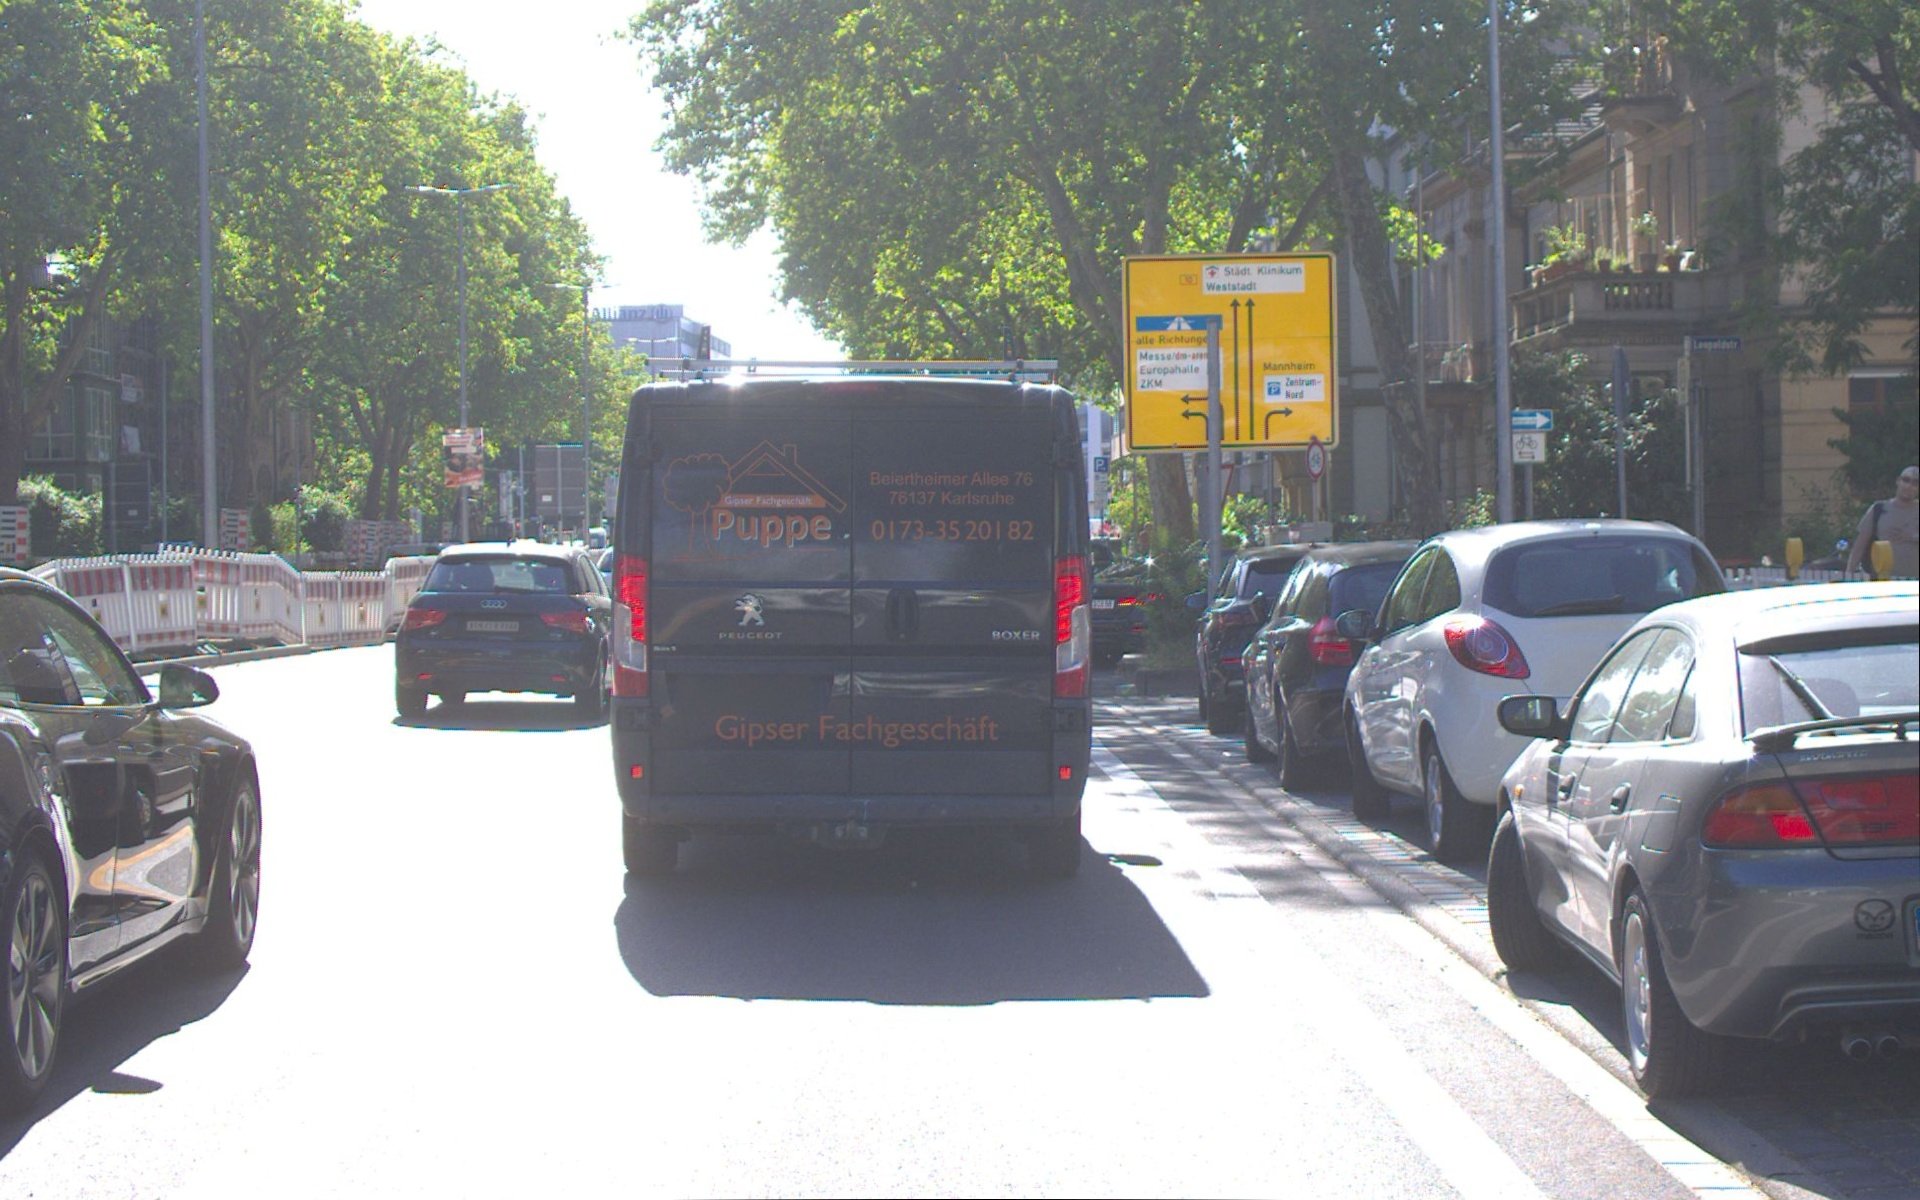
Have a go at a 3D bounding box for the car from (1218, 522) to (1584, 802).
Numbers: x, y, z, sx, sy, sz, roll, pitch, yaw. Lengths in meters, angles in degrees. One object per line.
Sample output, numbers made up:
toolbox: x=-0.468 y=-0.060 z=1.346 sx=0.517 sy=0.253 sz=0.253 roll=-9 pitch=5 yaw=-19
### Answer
car: x=2.583 y=0.308 z=20.973 sx=1.619 sy=1.481 sz=4.057 roll=-2 pitch=1 yaw=-1

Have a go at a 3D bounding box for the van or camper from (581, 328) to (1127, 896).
van or camper: x=-0.513 y=0.015 z=16.430 sx=2.245 sy=2.338 sz=4.538 roll=0 pitch=1 yaw=-2

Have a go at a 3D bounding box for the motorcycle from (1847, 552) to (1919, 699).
motorcycle: x=7.787 y=0.198 z=28.545 sx=0.597 sy=1.182 sz=1.555 roll=0 pitch=1 yaw=6

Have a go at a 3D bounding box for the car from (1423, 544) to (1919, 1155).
car: x=2.568 y=0.570 z=10.322 sx=1.716 sy=1.408 sz=4.049 roll=-2 pitch=1 yaw=-1

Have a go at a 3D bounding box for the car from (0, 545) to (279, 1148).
car: x=-3.291 y=0.581 z=9.853 sx=1.837 sy=1.478 sz=4.476 roll=0 pitch=1 yaw=-1

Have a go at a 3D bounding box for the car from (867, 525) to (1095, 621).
car: x=0.402 y=-0.525 z=66.968 sx=3.985 sy=1.563 sz=1.779 roll=4 pitch=0 yaw=-17

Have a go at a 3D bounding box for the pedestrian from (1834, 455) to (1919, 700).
pedestrian: x=7.118 y=-0.177 z=26.258 sx=0.664 sy=1.843 sz=0.694 roll=-1 pitch=1 yaw=0

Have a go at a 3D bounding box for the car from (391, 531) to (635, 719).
car: x=-3.728 y=0.170 z=29.189 sx=1.619 sy=1.481 sz=3.734 roll=0 pitch=1 yaw=-1

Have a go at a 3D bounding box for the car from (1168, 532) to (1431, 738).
car: x=2.658 y=0.227 z=27.709 sx=1.619 sy=1.481 sz=4.098 roll=-2 pitch=1 yaw=-1

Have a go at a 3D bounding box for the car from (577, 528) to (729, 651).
car: x=-3.833 y=-0.156 z=43.407 sx=1.619 sy=1.481 sz=3.734 roll=0 pitch=1 yaw=-1

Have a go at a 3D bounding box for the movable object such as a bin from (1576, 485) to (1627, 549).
movable object such as a bin: x=9.905 y=-1.276 z=53.126 sx=0.687 sy=0.967 sz=0.548 roll=-1 pitch=1 yaw=2

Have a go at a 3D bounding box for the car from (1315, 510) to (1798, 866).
car: x=2.782 y=0.351 z=16.789 sx=1.619 sy=1.481 sz=3.734 roll=-2 pitch=1 yaw=-1

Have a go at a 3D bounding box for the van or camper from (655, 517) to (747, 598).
van or camper: x=-6.869 y=-1.148 z=91.569 sx=1.993 sy=2.007 sz=5.329 roll=-3 pitch=1 yaw=0
